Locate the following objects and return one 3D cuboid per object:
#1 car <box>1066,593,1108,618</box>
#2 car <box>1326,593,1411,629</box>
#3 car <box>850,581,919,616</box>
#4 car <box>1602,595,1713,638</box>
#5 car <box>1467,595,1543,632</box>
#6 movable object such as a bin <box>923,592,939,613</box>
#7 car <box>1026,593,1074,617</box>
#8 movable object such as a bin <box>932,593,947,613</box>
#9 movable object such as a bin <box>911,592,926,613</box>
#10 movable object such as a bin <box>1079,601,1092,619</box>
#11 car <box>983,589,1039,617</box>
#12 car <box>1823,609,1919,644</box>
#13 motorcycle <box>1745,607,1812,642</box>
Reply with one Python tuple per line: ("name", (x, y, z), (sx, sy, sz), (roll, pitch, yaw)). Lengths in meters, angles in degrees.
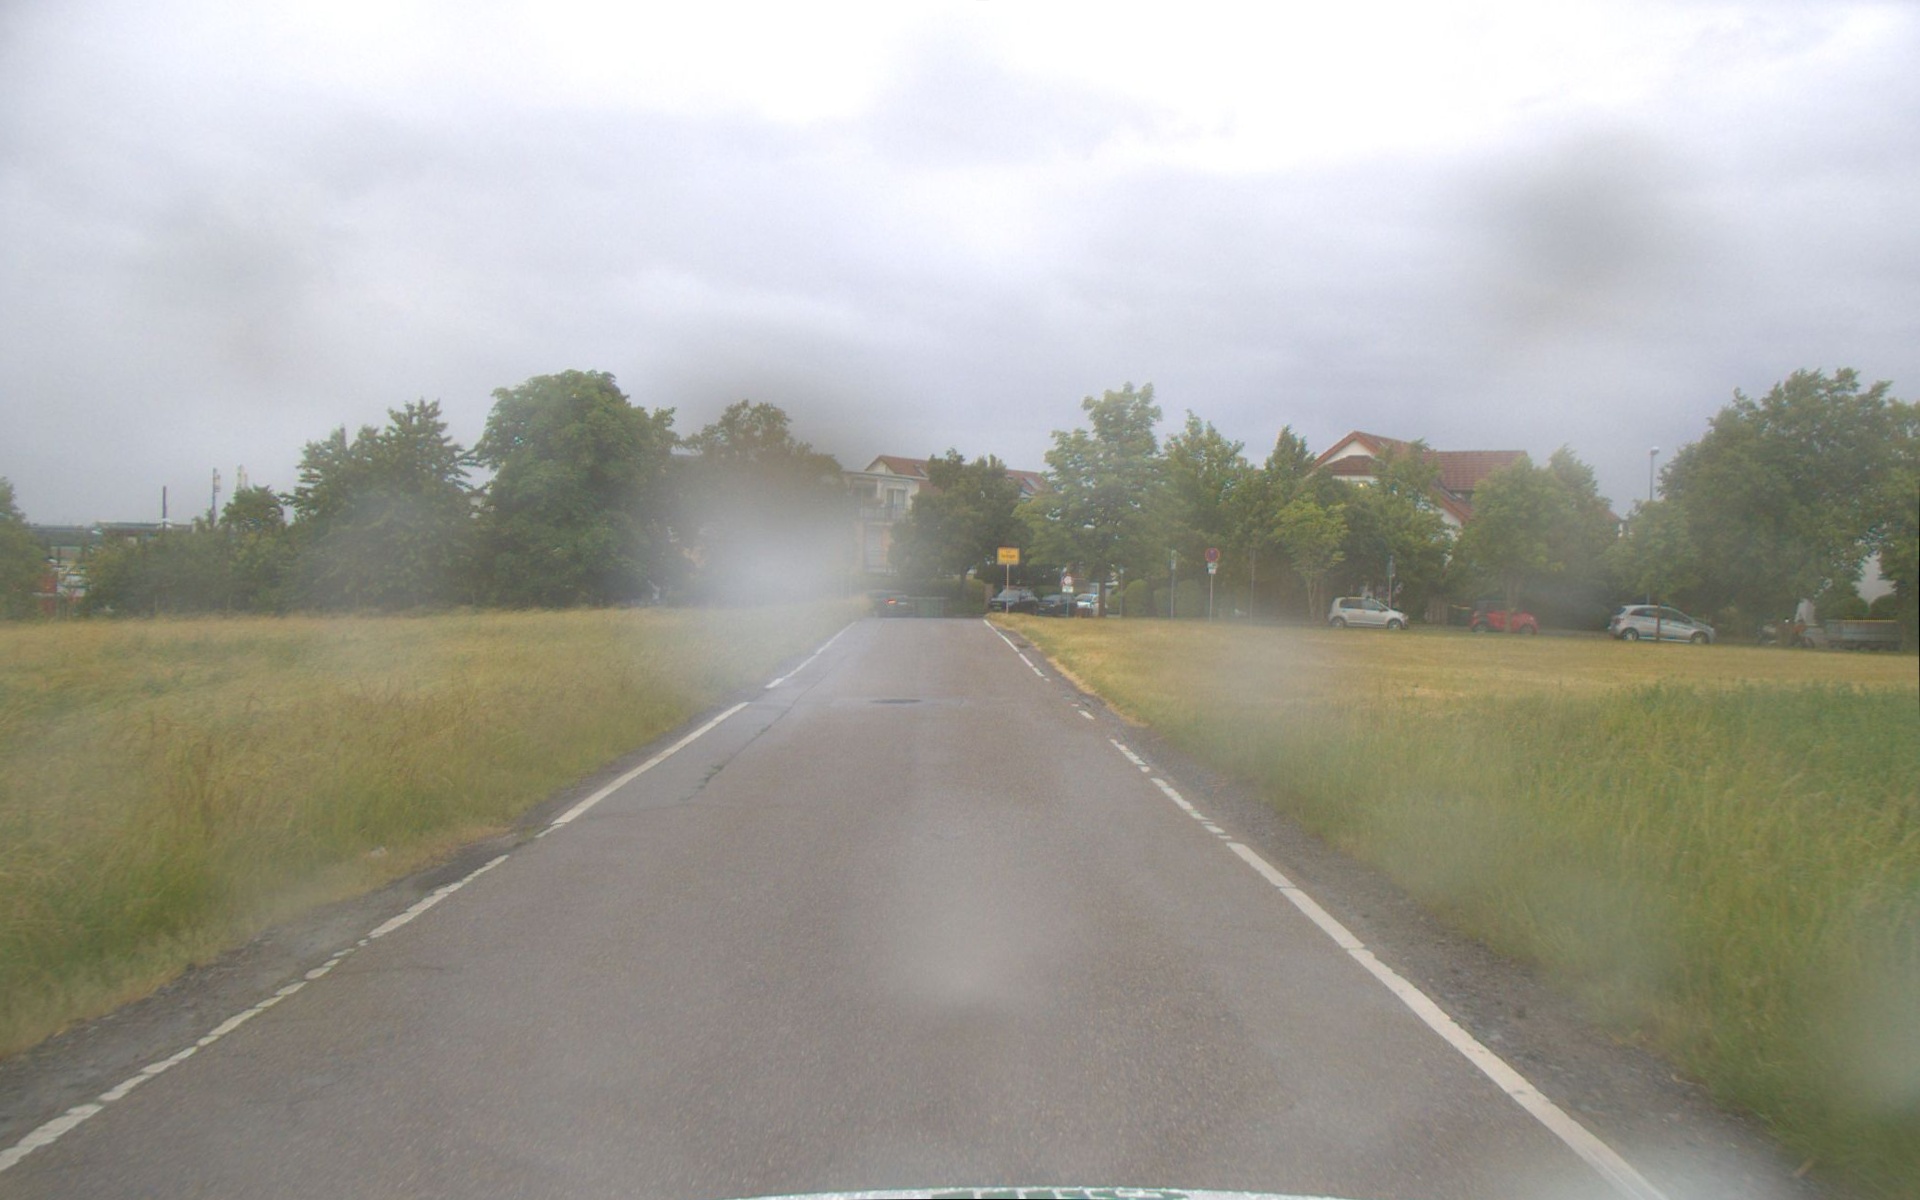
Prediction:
("car", (8.449, 0.382, 109.769), (1.483, 1.502, 3.267), (3, 1, 30))
("car", (17.665, 0.478, 71.426), (3.468, 1.505, 1.681), (1, -1, 17))
("car", (-3.630, -0.062, 79.164), (1.671, 1.579, 3.654), (2, -1, -33))
("car", (28.929, 0.664, 68.687), (3.892, 1.579, 1.854), (2, 0, 11))
("car", (23.030, 0.565, 69.965), (2.939, 1.461, 1.555), (2, -1, 17))
("movable object such as a bin", (-1.543, 0.142, 88.744), (0.680, 1.093, 0.602), (1, 0, 20))
("car", (5.765, 0.329, 105.340), (1.604, 1.433, 3.598), (3, 1, 29))
("movable object such as a bin", (-1.109, 0.155, 89.927), (0.680, 1.086, 0.579), (1, 0, 20))
("movable object such as a bin", (-2.223, 0.127, 88.983), (0.651, 1.092, 0.544), (1, 0, 20))
("movable object such as a bin", (7.035, 0.567, 92.650), (0.560, 0.947, 0.529), (1, 0, 33))
("car", (3.134, 0.192, 100.156), (1.741, 1.545, 4.132), (3, 1, 27))
("car", (36.894, 1.079, 66.786), (3.247, 1.303, 1.735), (1, 0, 11))
("motorcycle", (33.227, 0.980, 67.176), (2.209, 1.325, 0.972), (2, 1, 11))
